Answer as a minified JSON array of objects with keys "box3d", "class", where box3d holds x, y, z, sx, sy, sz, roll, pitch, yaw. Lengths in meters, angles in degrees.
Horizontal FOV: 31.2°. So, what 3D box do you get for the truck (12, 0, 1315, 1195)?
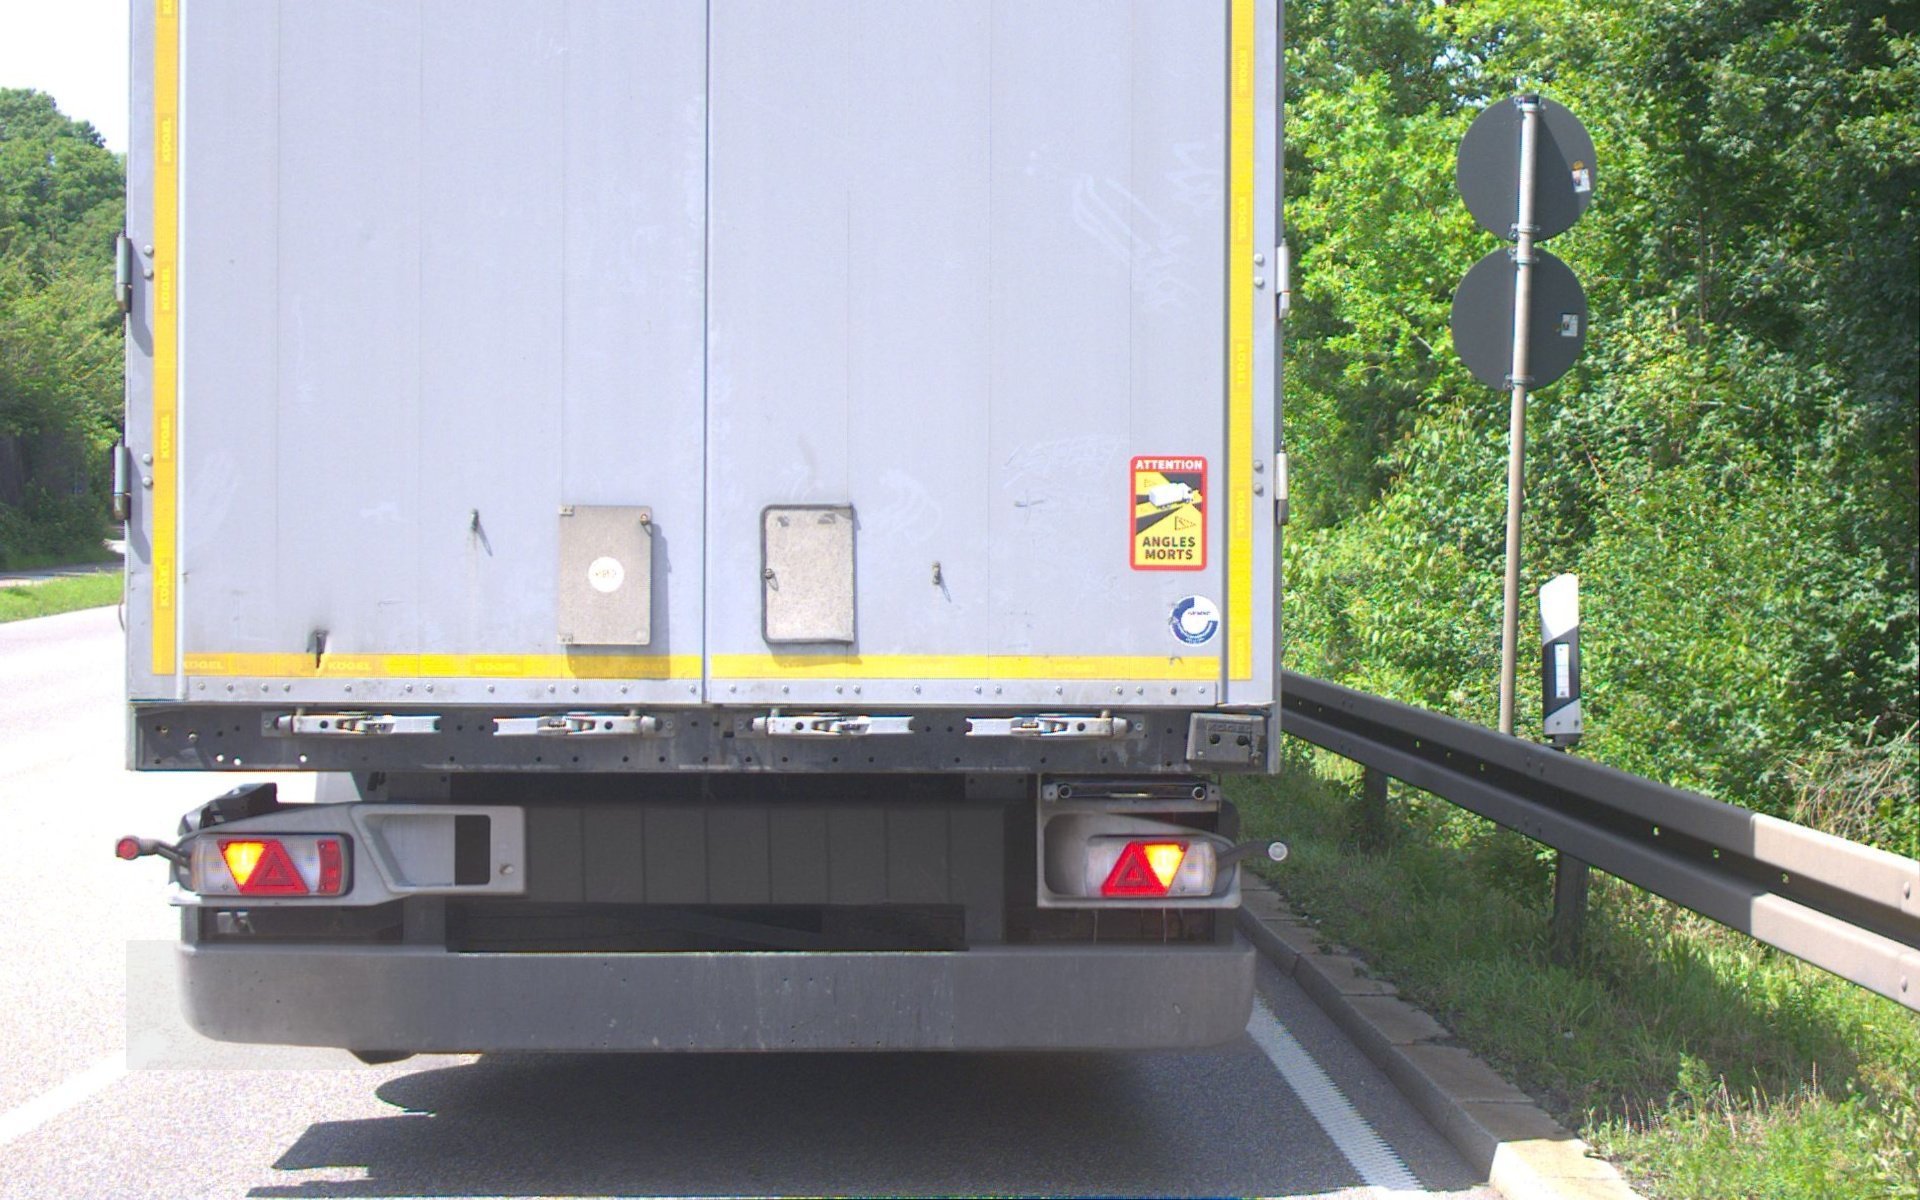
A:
[{"box3d":[-0.763,-0.874,13.258,2.757,4.016,11.925,0,1,-1],"class":"truck"}]
